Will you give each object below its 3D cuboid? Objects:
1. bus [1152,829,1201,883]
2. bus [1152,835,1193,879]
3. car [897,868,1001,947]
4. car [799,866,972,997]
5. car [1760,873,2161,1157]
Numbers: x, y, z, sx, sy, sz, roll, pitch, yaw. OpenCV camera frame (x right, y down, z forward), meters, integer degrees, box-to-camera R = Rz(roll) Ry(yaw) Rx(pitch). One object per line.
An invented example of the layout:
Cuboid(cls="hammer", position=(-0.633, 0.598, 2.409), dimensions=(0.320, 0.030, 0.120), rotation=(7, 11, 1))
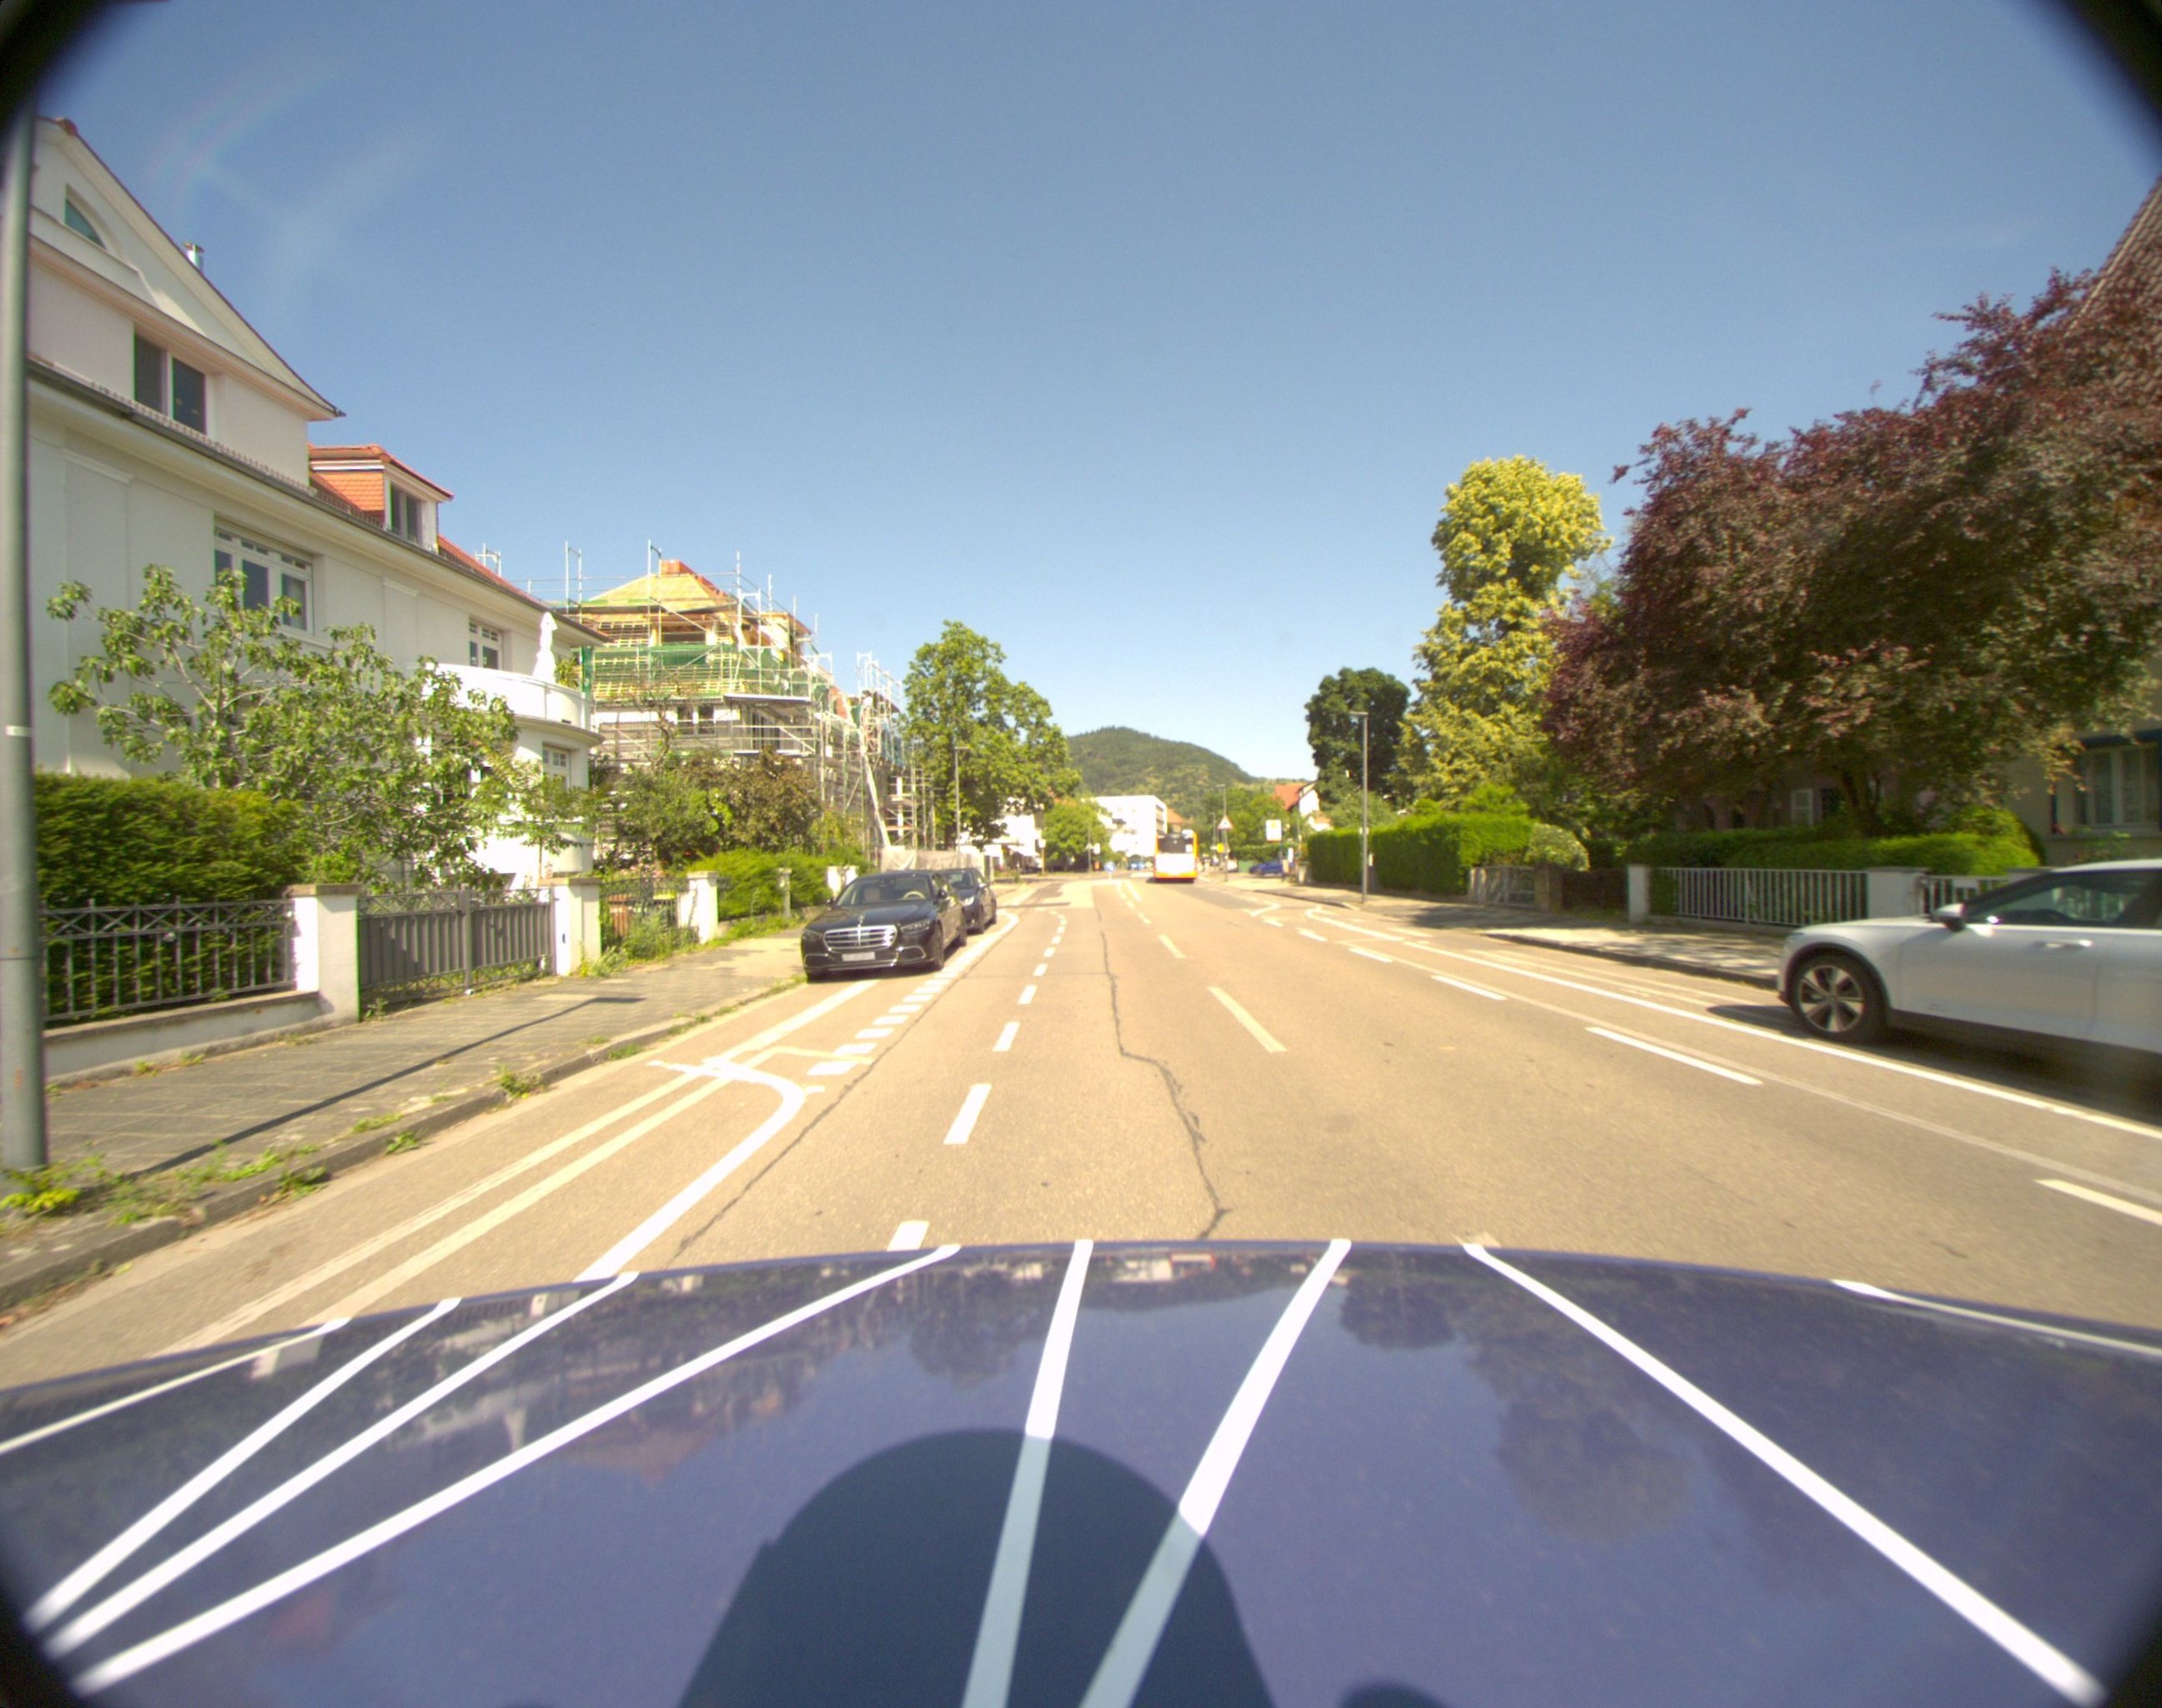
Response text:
Cuboid(cls="bus", position=(6.111, 0.144, 49.913), dimensions=(2.751, 3.155, 9.781), rotation=(1, 0, 4))
Cuboid(cls="bus", position=(7.033, 0.243, 59.668), dimensions=(2.751, 3.155, 9.781), rotation=(1, 0, 4))
Cuboid(cls="car", position=(-2.931, 1.139, 17.639), dimensions=(1.662, 1.467, 3.787), rotation=(-4, 0, 0))
Cuboid(cls="car", position=(-2.973, 1.076, 12.658), dimensions=(1.701, 1.573, 4.900), rotation=(-4, 0, -2))
Cuboid(cls="car", position=(6.775, 0.908, 4.316), dimensions=(1.838, 1.477, 4.562), rotation=(1, 0, 2))
